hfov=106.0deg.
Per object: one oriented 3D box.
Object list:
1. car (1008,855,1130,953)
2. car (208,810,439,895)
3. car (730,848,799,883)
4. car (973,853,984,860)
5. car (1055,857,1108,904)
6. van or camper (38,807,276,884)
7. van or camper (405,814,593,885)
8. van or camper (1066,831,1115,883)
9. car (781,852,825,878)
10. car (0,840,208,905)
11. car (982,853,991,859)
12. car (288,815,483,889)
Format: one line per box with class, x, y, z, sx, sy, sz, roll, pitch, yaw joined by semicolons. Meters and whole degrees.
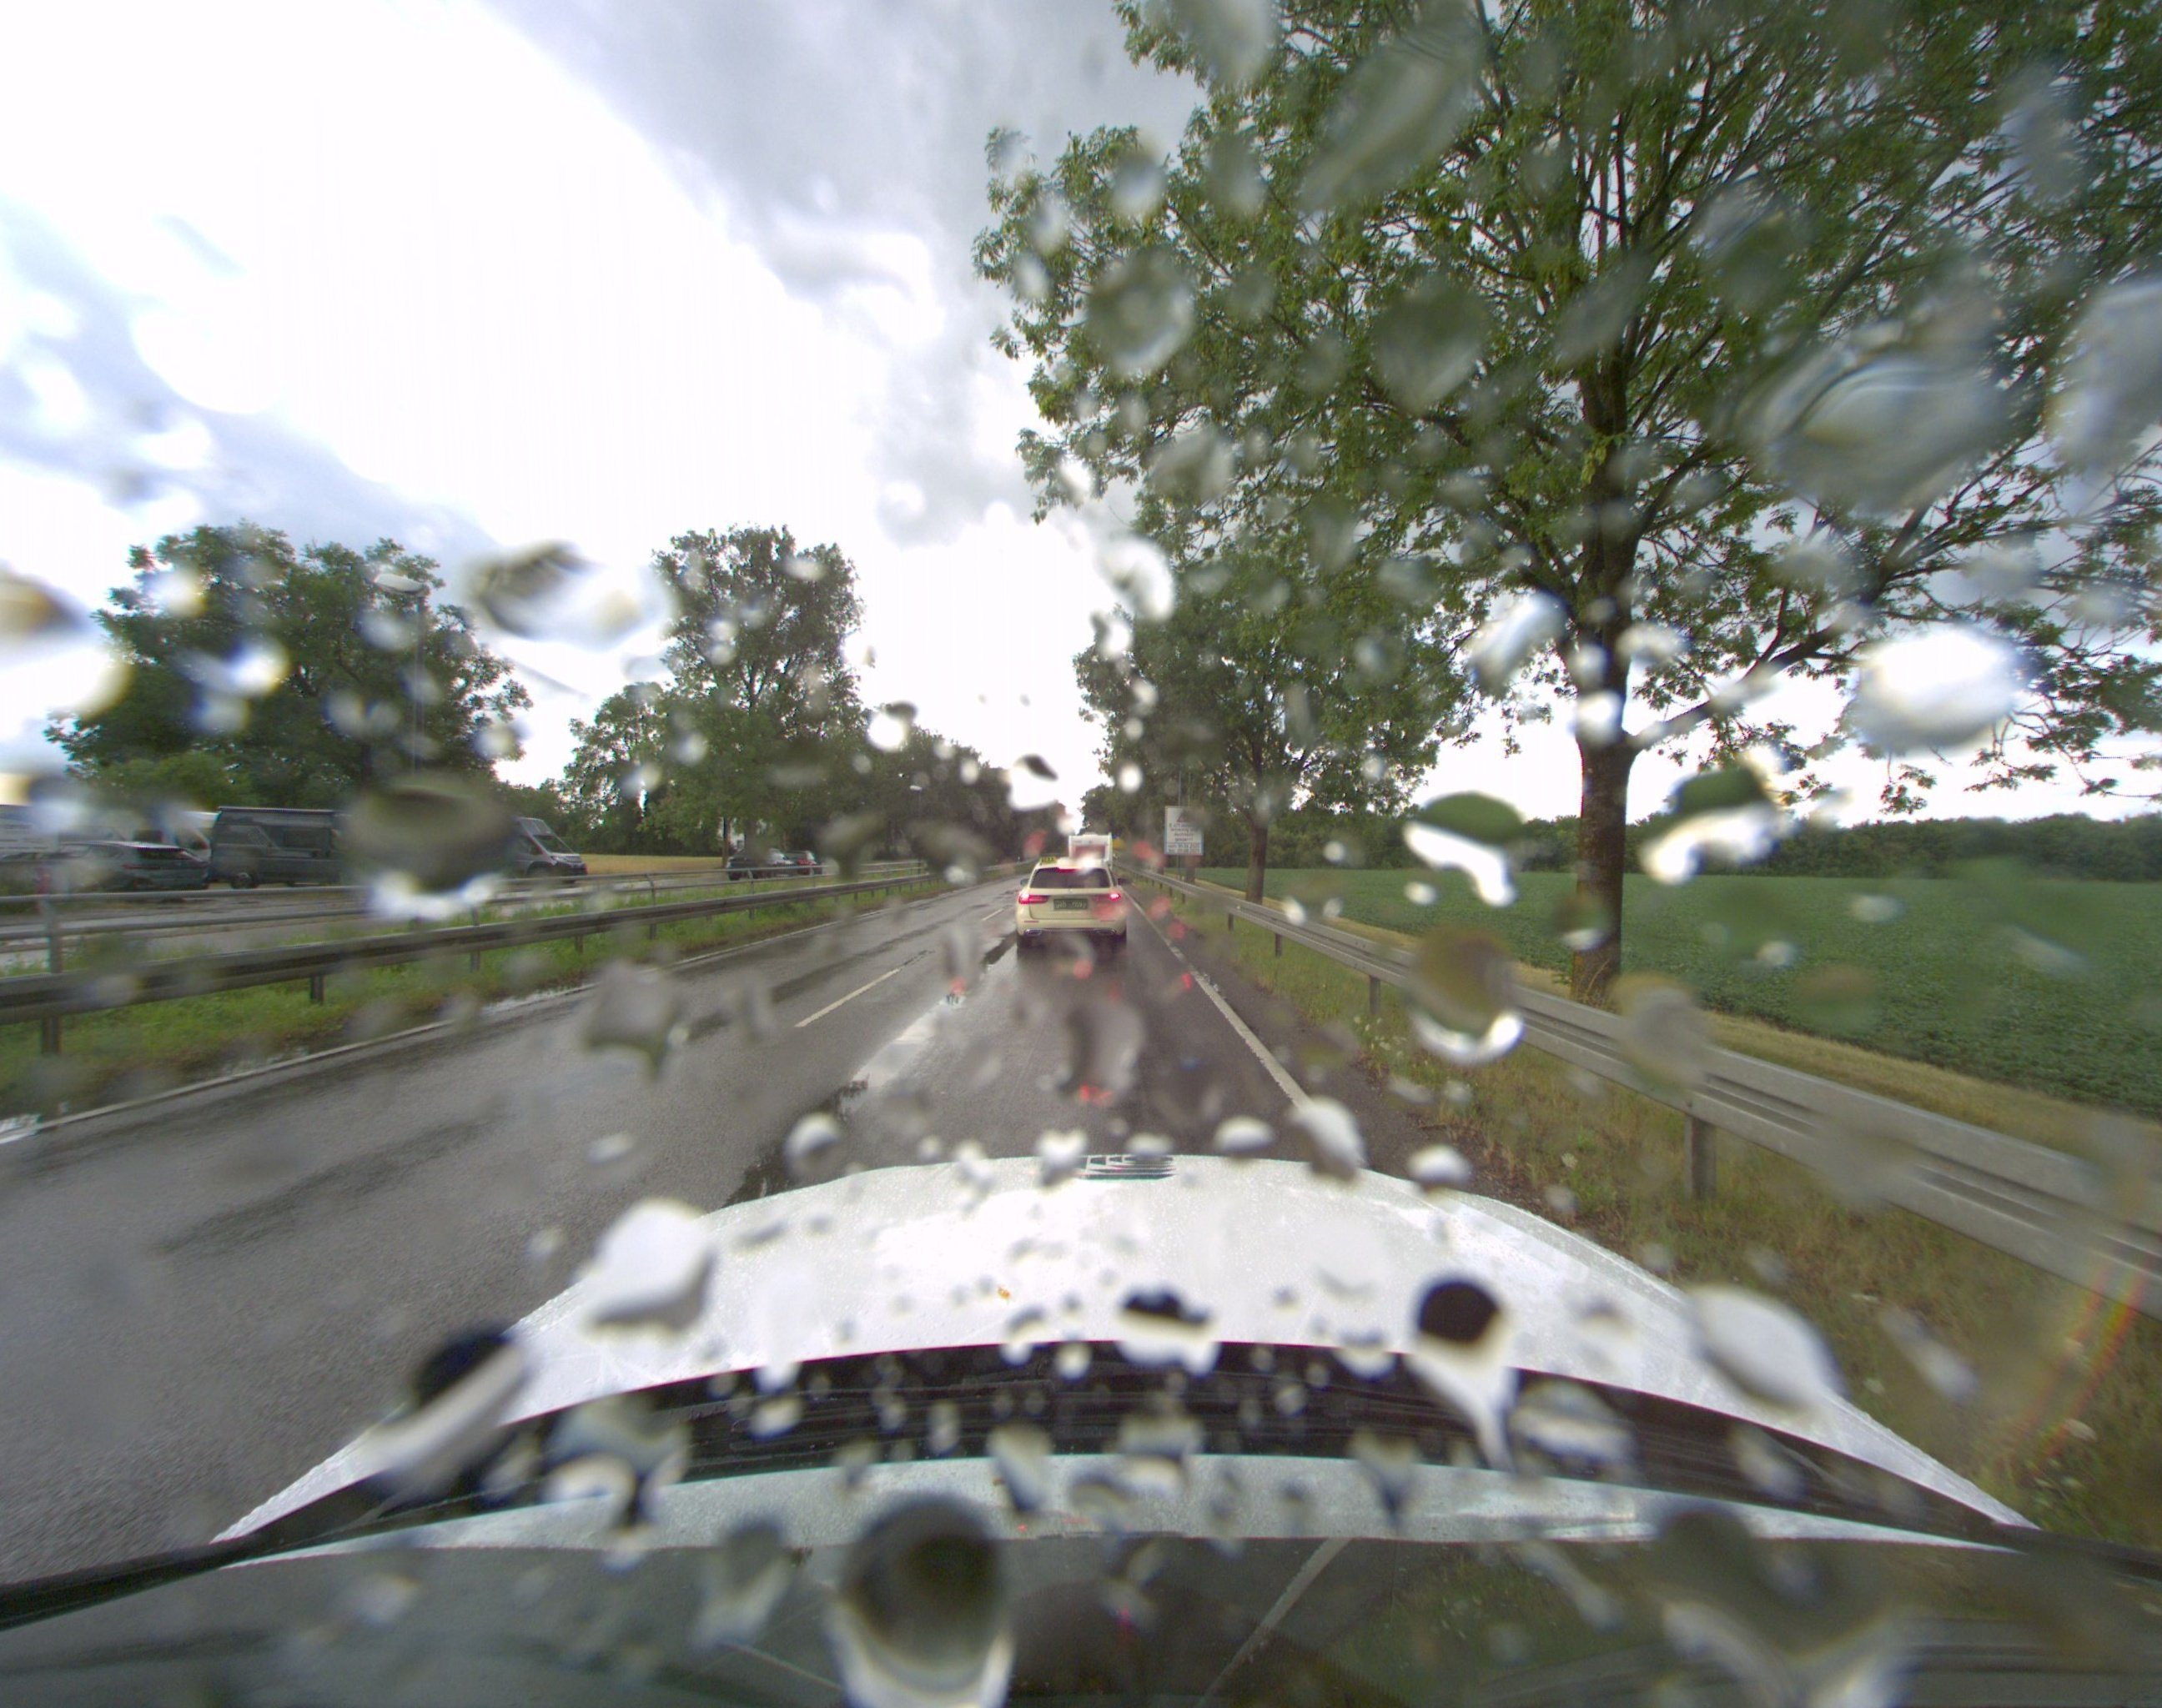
car;-0.123;0.779;14.526;1.858;1.476;4.002;-1;0;2
car;-23.949;-0.048;25.919;5.173;2.501;1.997;1;0;-5
car;-14.772;0.488;38.300;1.512;1.491;5.115;1;0;-4
car;-24.109;0.568;191.615;1.779;1.416;4.002;1;0;2
car;0.083;0.845;27.621;1.658;1.430;4.002;-1;0;2
van or camper;-33.569;-0.277;29.757;5.798;2.590;1.995;1;0;-7
van or camper;-23.355;-0.170;32.901;5.865;2.677;2.078;1;0;-5
van or camper;0.594;0.150;44.489;2.480;2.685;5.702;0;0;2
car;-15.178;0.564;44.694;1.280;1.331;3.893;0;0;-4
car;-24.603;0.440;20.392;3.869;1.496;1.541;1;0;2
car;-23.693;0.554;205.031;1.780;1.416;3.998;1;0;-1
car;-24.851;-0.078;29.256;5.079;2.459;1.998;1;0;-3
